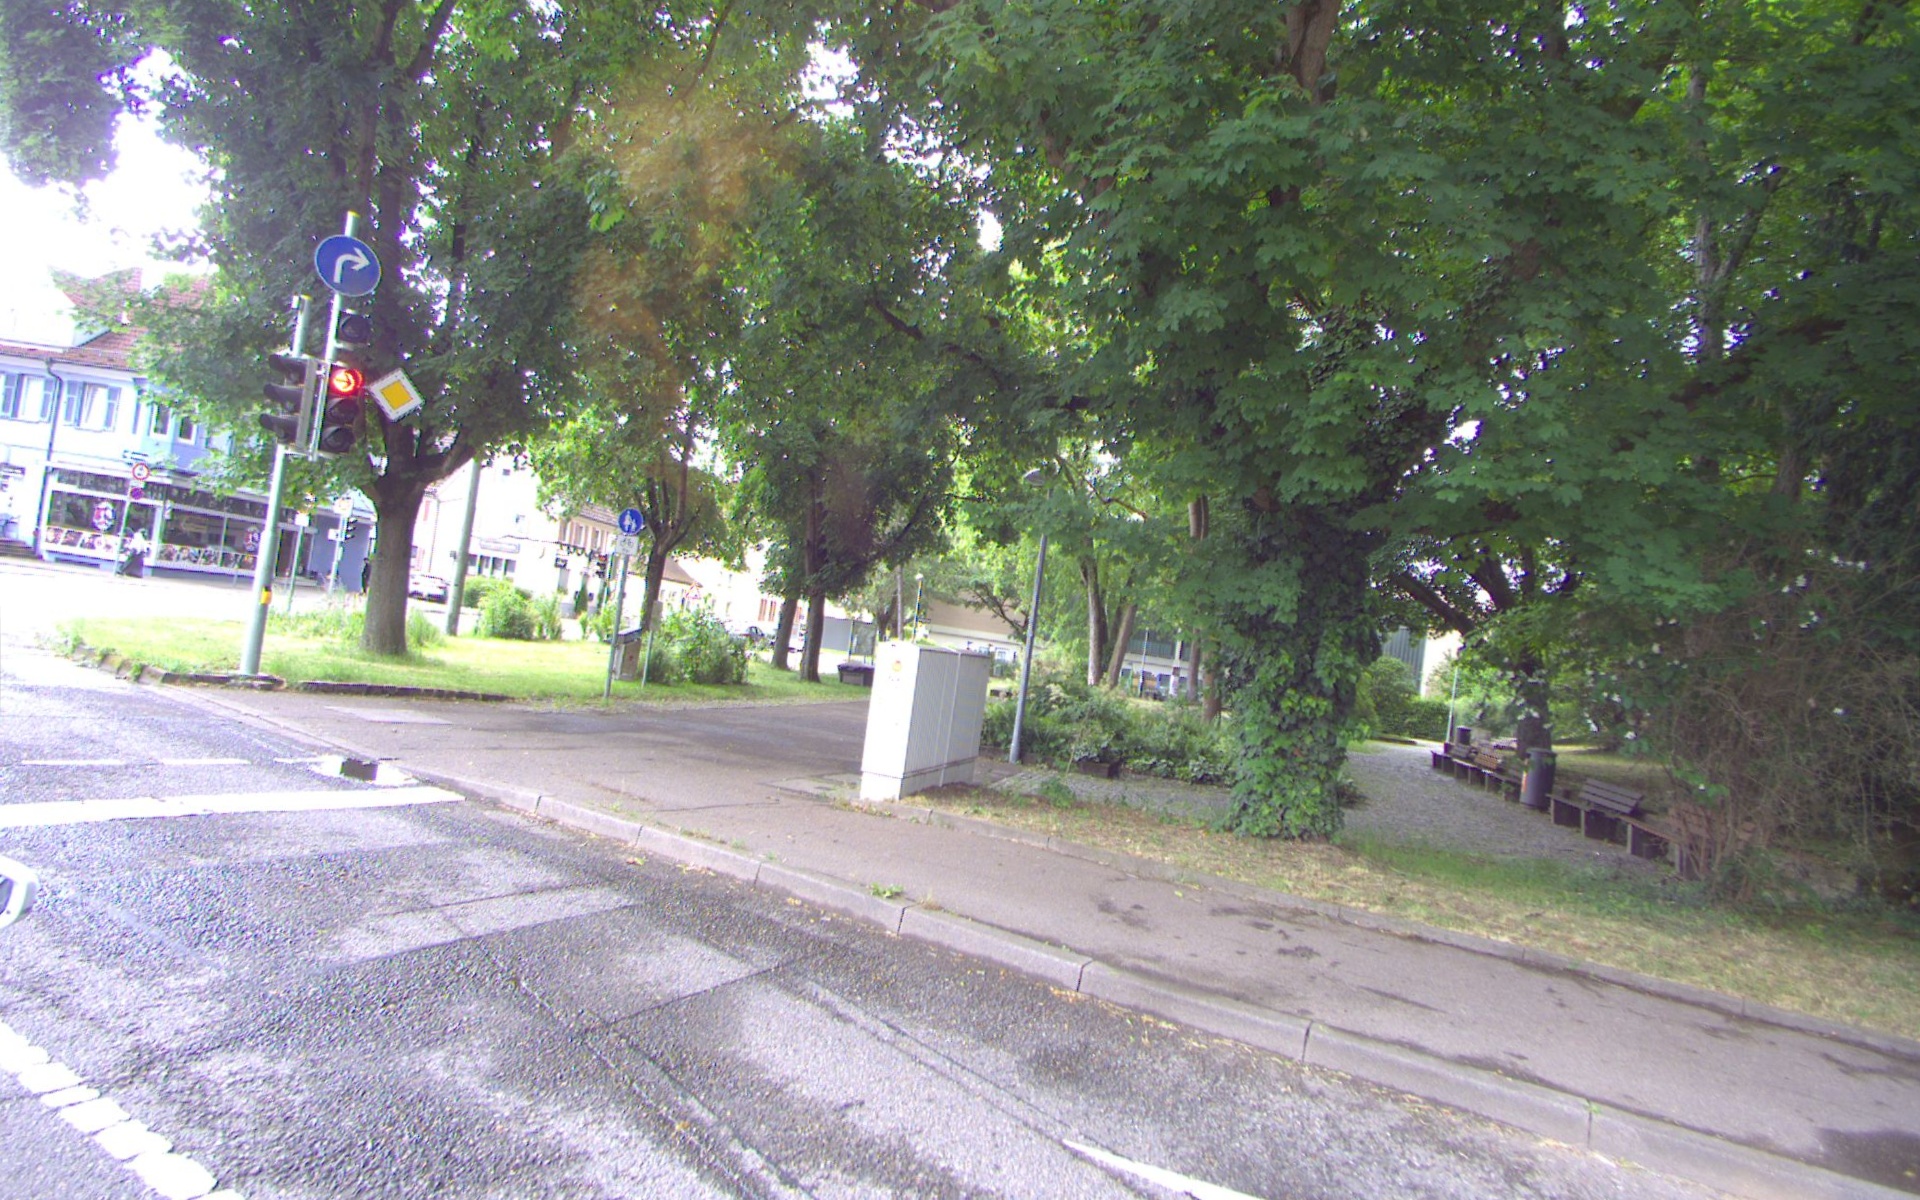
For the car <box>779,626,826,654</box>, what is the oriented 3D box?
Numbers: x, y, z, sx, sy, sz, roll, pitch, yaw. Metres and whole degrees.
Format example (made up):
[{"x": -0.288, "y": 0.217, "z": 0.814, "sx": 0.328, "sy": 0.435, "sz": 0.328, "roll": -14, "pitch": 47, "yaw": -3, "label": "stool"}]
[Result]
[{"x": -10.275, "y": 2.653, "z": 66.039, "sx": 1.618, "sy": 1.474, "sz": 3.740, "roll": 7, "pitch": -2, "yaw": 13, "label": "car"}]

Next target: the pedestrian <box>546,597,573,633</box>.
[{"x": -13.038, "y": 0.485, "z": 32.758, "sx": 0.506, "sy": 1.093, "sz": 0.507, "roll": 6, "pitch": -1, "yaw": 17, "label": "pedestrian"}]

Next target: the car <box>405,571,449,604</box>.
[{"x": -28.175, "y": -0.691, "z": 53.162, "sx": 1.870, "sy": 1.406, "sz": 3.589, "roll": 9, "pitch": -2, "yaw": -28, "label": "car"}]

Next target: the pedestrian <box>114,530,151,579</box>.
[{"x": -28.625, "y": -1.553, "z": 34.809, "sx": 0.688, "sy": 1.578, "sz": 0.662, "roll": 7, "pitch": -1, "yaw": -27, "label": "pedestrian"}]

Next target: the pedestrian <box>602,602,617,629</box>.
[{"x": -21.479, "y": 0.922, "z": 61.584, "sx": 0.500, "sy": 1.578, "sz": 0.505, "roll": 6, "pitch": -1, "yaw": 17, "label": "pedestrian"}]

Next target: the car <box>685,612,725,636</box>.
[{"x": -19.007, "y": 1.809, "z": 75.094, "sx": 1.736, "sy": 1.463, "sz": 3.865, "roll": 7, "pitch": -2, "yaw": 2, "label": "car"}]

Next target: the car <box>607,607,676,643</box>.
[{"x": -13.913, "y": 1.115, "z": 44.123, "sx": 1.436, "sy": 1.282, "sz": 3.014, "roll": 7, "pitch": -2, "yaw": 13, "label": "car"}]

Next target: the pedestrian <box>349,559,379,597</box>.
[{"x": -26.900, "y": -0.988, "z": 45.425, "sx": 0.732, "sy": 1.578, "sz": 0.673, "roll": 6, "pitch": -1, "yaw": 17, "label": "pedestrian"}]

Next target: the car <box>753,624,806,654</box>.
[{"x": -10.701, "y": 2.336, "z": 59.908, "sx": 1.618, "sy": 1.474, "sz": 3.740, "roll": 7, "pitch": -2, "yaw": 13, "label": "car"}]

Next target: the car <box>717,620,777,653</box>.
[{"x": -11.564, "y": 2.013, "z": 54.934, "sx": 1.618, "sy": 1.474, "sz": 3.740, "roll": 7, "pitch": -2, "yaw": 13, "label": "car"}]
